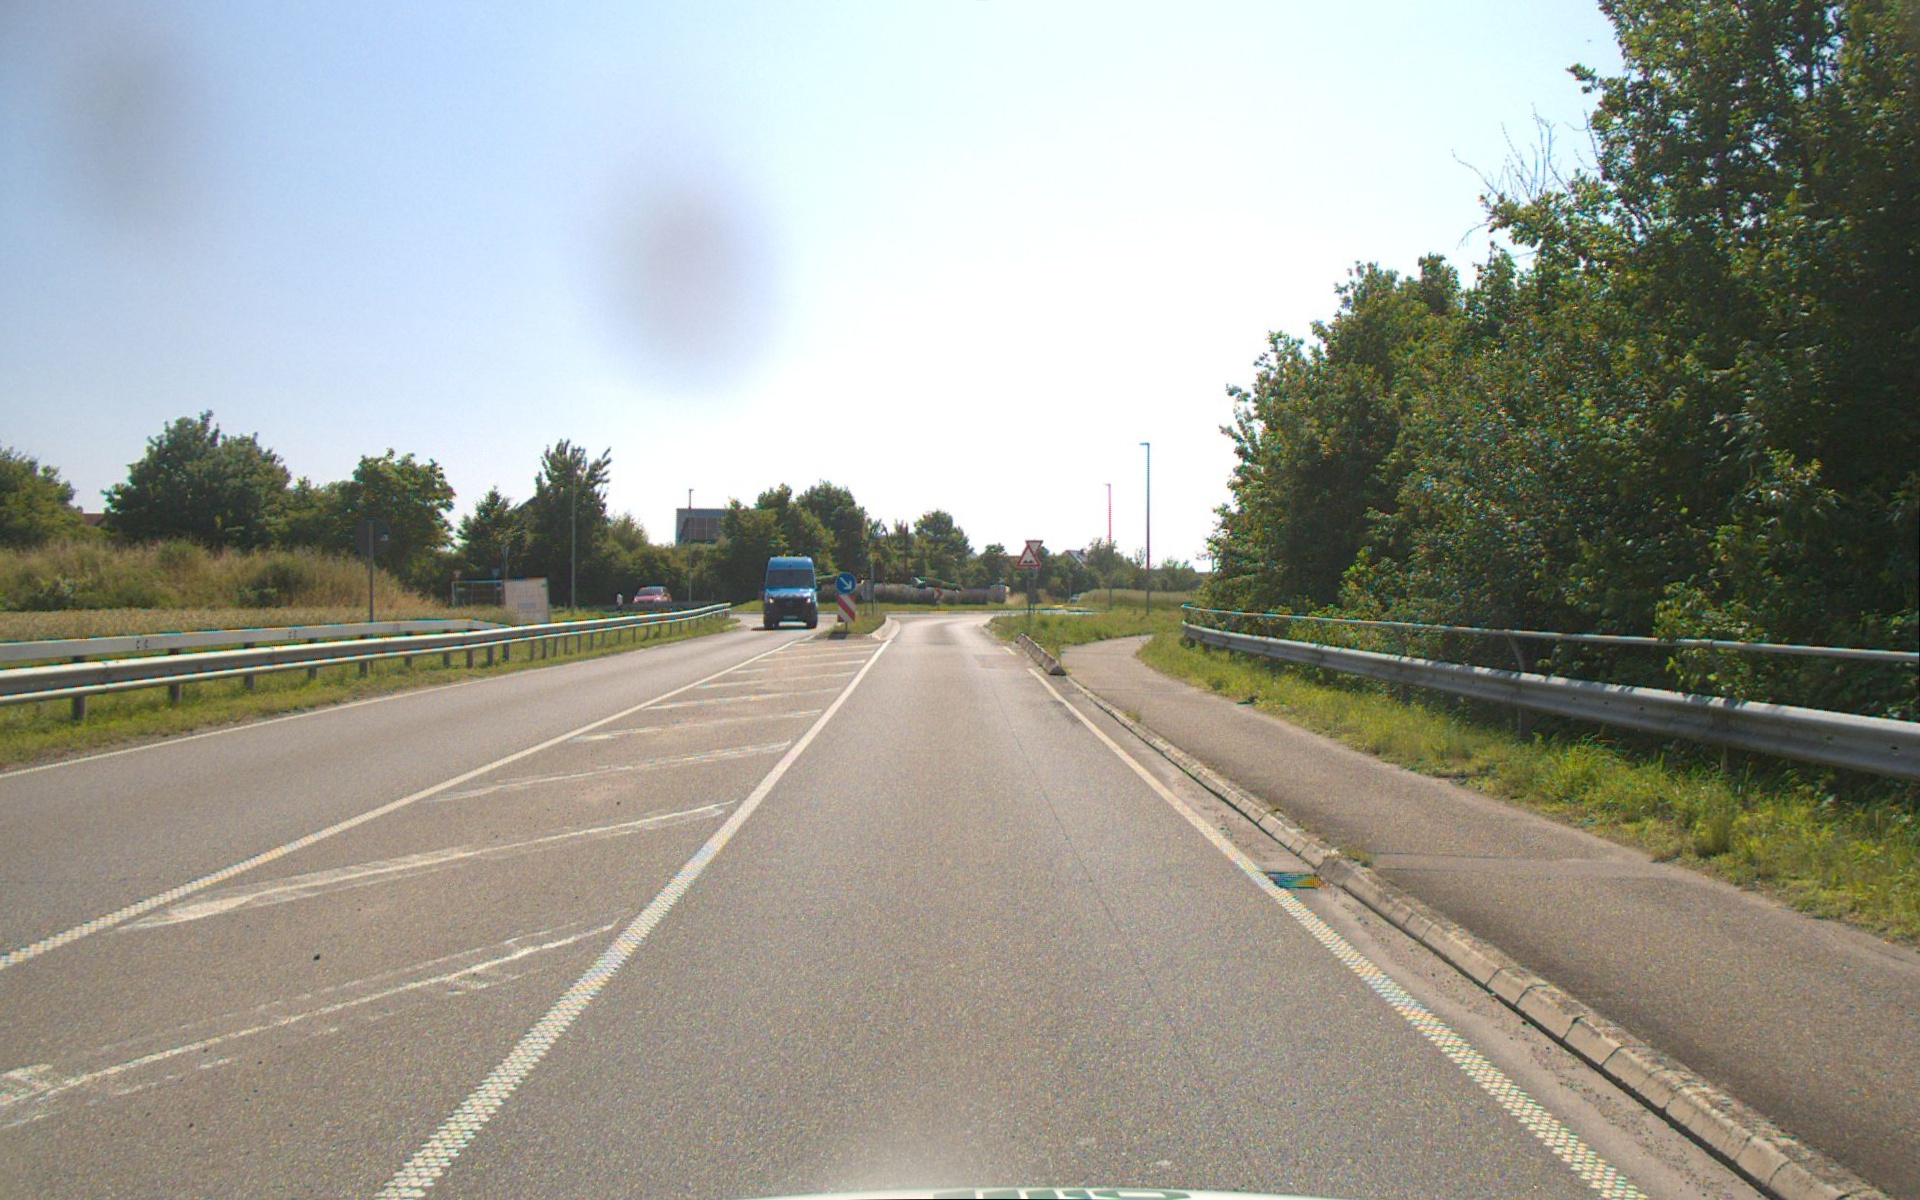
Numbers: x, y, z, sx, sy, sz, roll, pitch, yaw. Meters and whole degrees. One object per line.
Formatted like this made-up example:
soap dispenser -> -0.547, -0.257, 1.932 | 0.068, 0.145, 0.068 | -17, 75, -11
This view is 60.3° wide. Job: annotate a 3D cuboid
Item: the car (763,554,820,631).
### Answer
car -> -6.383, -0.285, 62.626 | 1.955, 2.657, 7.281 | -2, 0, -6
